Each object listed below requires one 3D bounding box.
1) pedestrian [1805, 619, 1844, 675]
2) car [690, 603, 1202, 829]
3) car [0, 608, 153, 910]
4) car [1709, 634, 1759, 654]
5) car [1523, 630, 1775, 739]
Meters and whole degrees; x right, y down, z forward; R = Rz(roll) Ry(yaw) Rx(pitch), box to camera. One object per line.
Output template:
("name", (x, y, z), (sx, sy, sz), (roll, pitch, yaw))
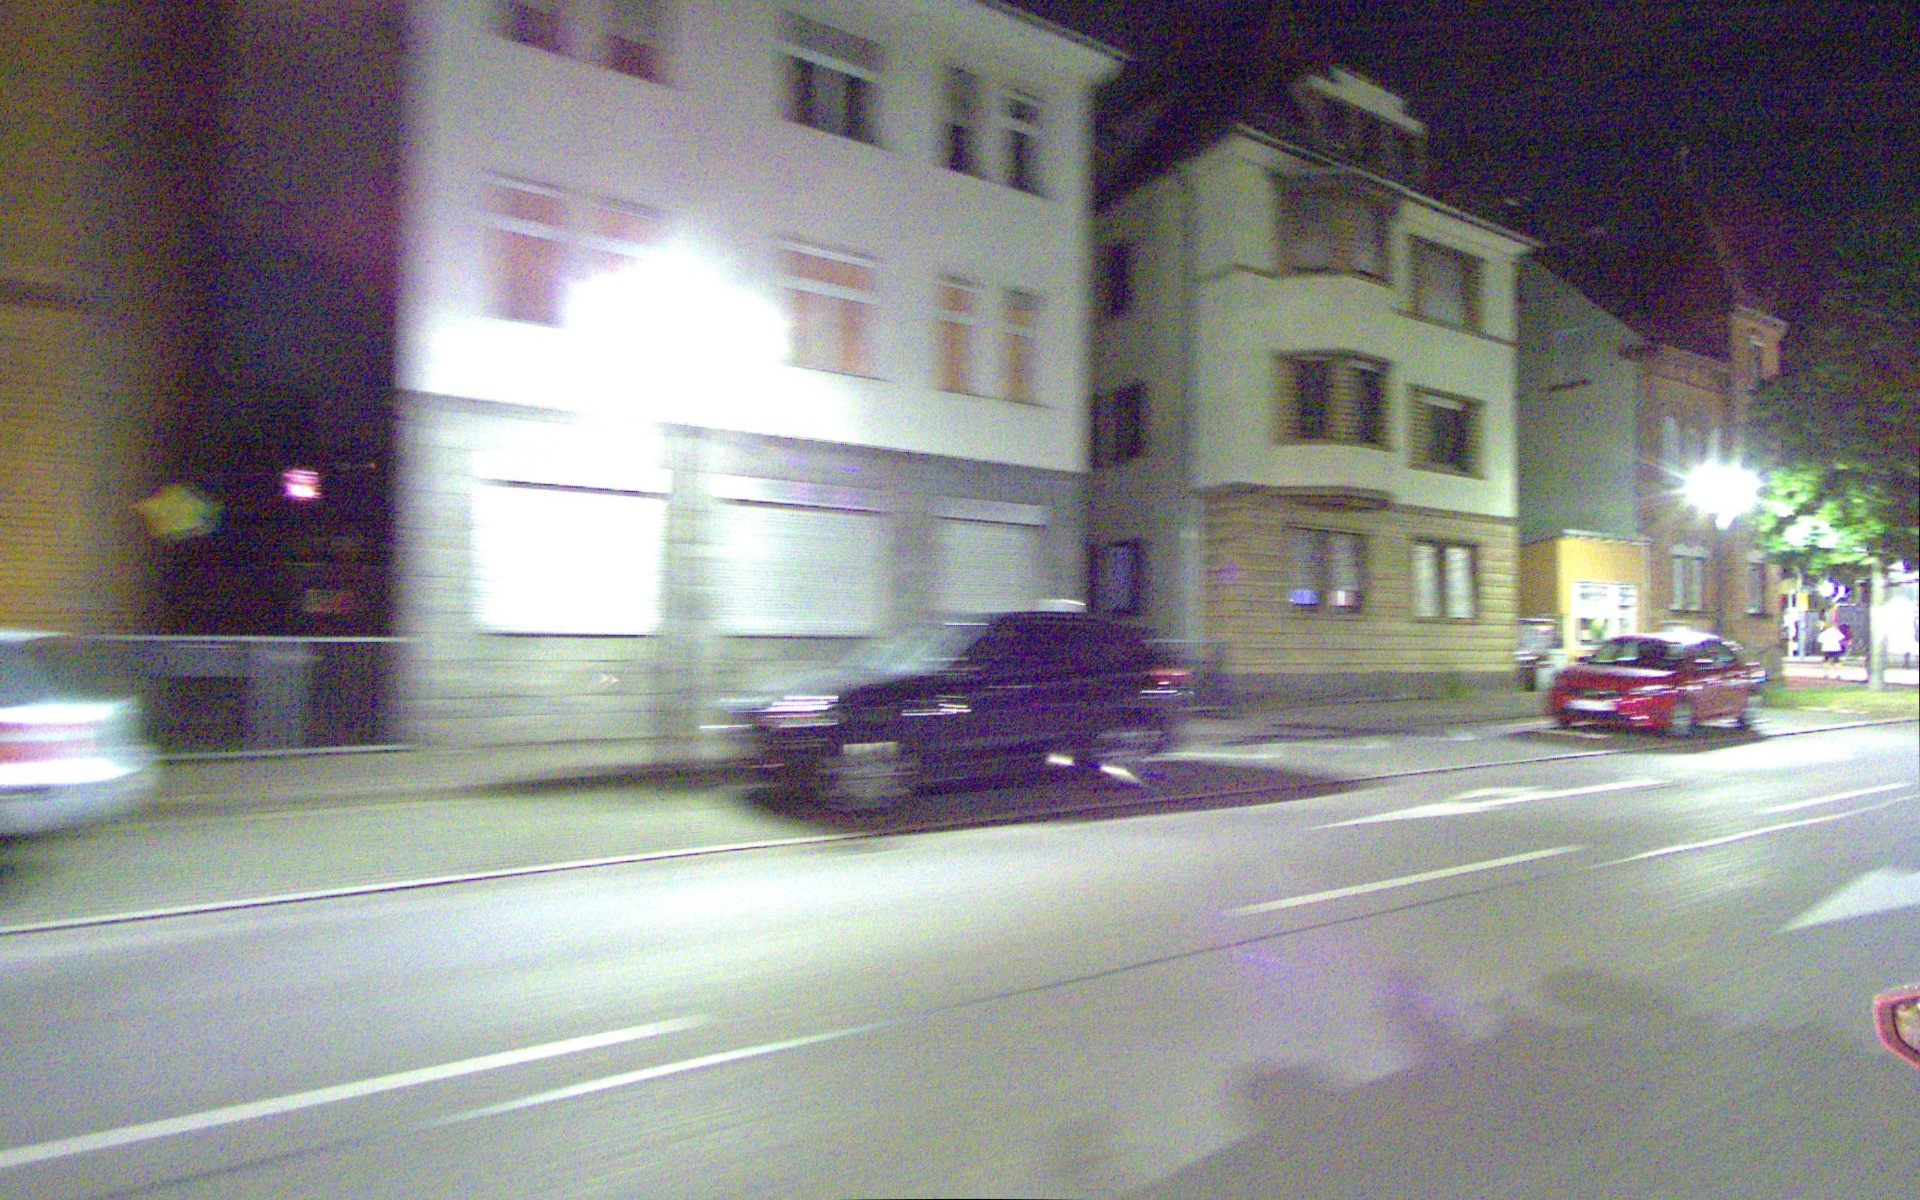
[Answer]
("pedestrian", (29.131, 1.573, 33.855), (0.711, 1.846, 0.693), (2, -1, 13))
("car", (-0.053, 0.882, 9.158), (4.358, 1.603, 1.776), (1, 1, -30))
("car", (-6.636, 0.778, 4.925), (3.956, 1.511, 1.774), (1, -1, -33))
("car", (63.104, 3.568, 81.940), (1.960, 1.594, 3.656), (-1, -2, 16))
("car", (10.699, 1.202, 15.527), (4.081, 1.434, 1.774), (1, 0, -33))
